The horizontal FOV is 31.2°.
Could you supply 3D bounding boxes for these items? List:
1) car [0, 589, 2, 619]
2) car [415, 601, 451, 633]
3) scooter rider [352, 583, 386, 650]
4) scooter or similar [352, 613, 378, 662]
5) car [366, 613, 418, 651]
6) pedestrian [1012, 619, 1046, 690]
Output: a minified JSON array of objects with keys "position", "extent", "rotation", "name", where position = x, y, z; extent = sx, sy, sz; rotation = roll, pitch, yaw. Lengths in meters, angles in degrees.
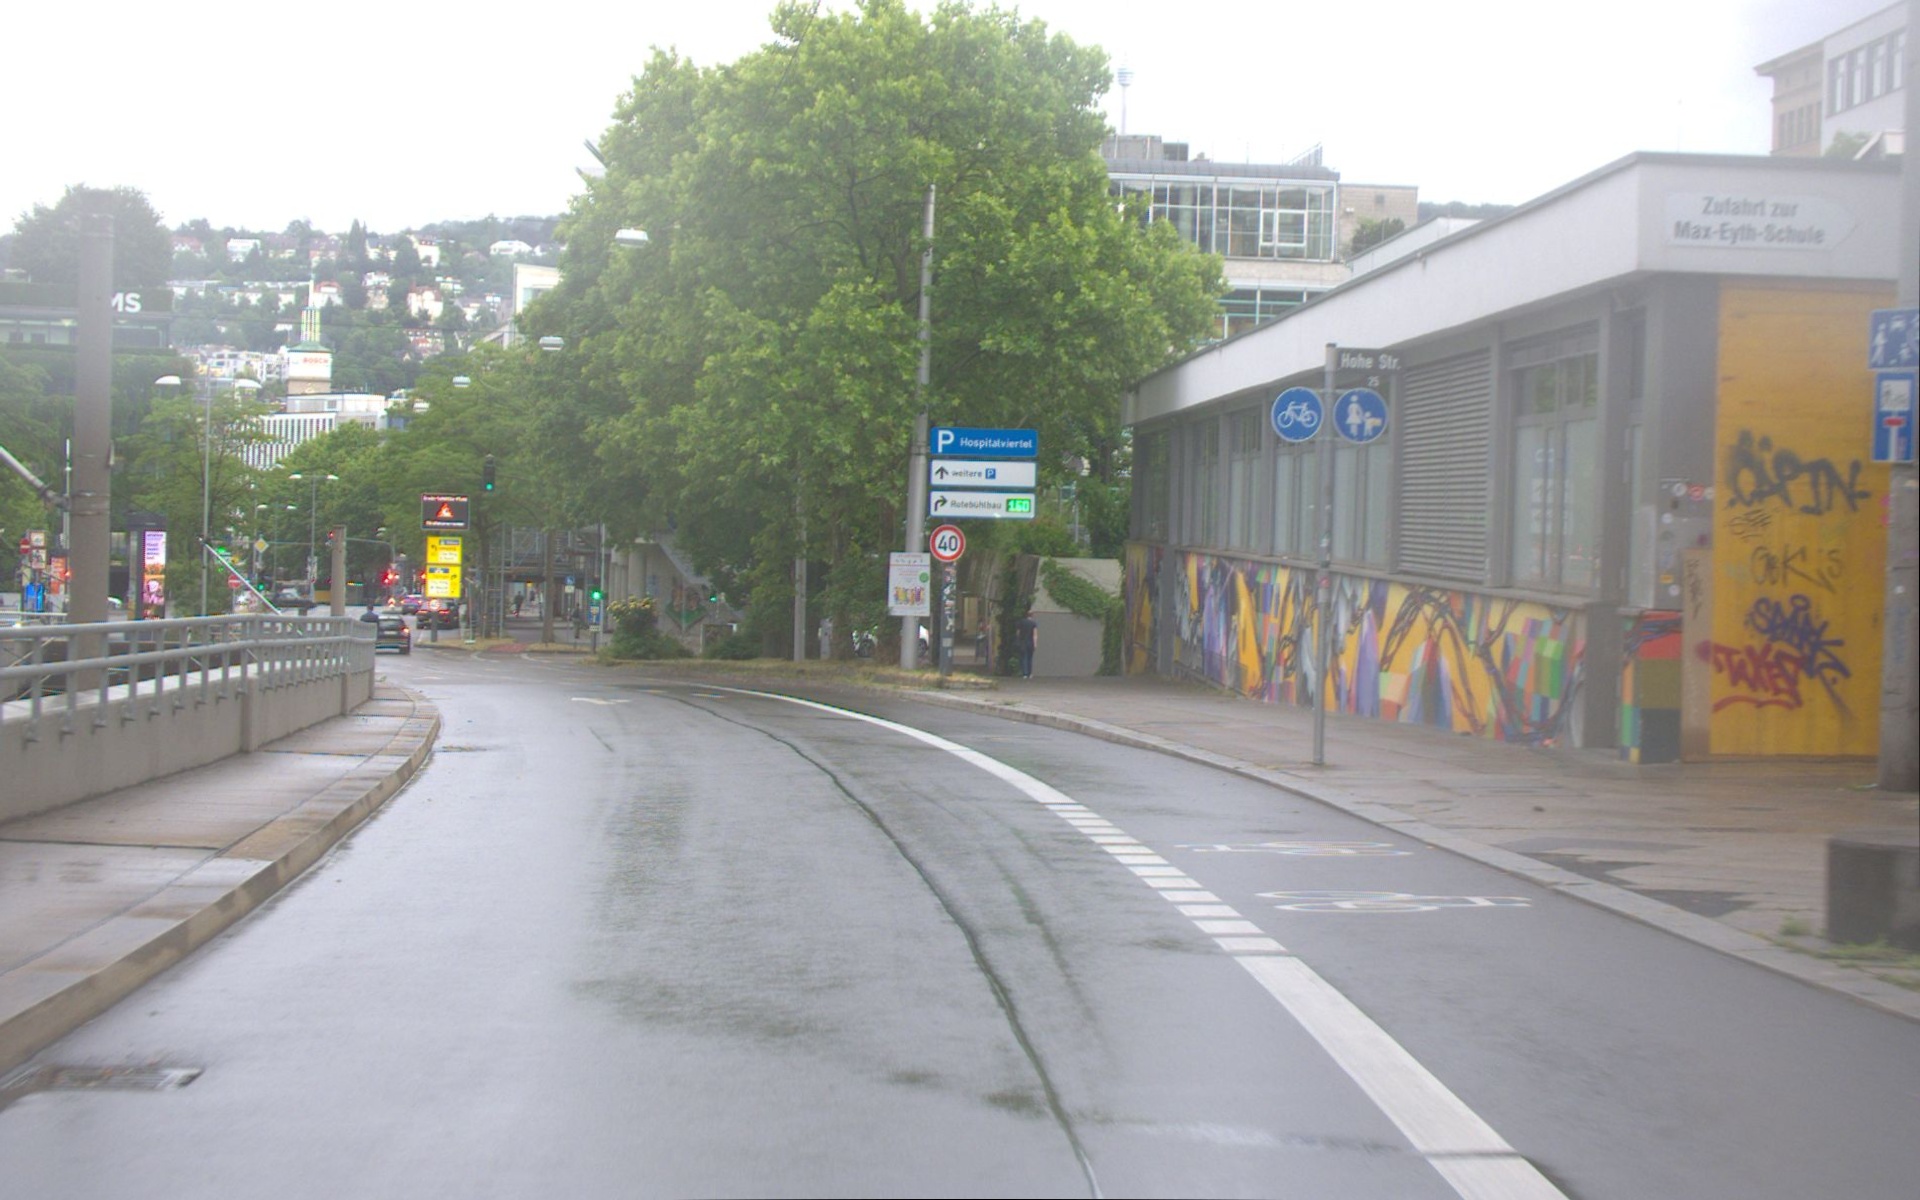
[{"position":[-53.026,0.228,186.751],"extent":[1.780,1.550,3.895],"rotation":[2,1,-14],"name":"car"},{"position":[-29.507,0.945,192.301],"extent":[1.901,1.678,3.911],"rotation":[2,-1,-9],"name":"car"},{"position":[-17.286,0.477,100.555],"extent":[0.808,1.941,0.822],"rotation":[2,-1,-16],"name":"scooter rider"},{"position":[-17.385,1.096,100.470],"extent":[0.546,1.414,1.956],"rotation":[2,-1,-15],"name":"scooter or similar"},{"position":[-23.400,1.304,141.527],"extent":[1.745,1.514,4.107],"rotation":[2,-1,-13],"name":"car"},{"position":[1.826,1.441,91.167],"extent":[0.807,1.858,1.056],"rotation":[0,-1,-4],"name":"pedestrian"}]
